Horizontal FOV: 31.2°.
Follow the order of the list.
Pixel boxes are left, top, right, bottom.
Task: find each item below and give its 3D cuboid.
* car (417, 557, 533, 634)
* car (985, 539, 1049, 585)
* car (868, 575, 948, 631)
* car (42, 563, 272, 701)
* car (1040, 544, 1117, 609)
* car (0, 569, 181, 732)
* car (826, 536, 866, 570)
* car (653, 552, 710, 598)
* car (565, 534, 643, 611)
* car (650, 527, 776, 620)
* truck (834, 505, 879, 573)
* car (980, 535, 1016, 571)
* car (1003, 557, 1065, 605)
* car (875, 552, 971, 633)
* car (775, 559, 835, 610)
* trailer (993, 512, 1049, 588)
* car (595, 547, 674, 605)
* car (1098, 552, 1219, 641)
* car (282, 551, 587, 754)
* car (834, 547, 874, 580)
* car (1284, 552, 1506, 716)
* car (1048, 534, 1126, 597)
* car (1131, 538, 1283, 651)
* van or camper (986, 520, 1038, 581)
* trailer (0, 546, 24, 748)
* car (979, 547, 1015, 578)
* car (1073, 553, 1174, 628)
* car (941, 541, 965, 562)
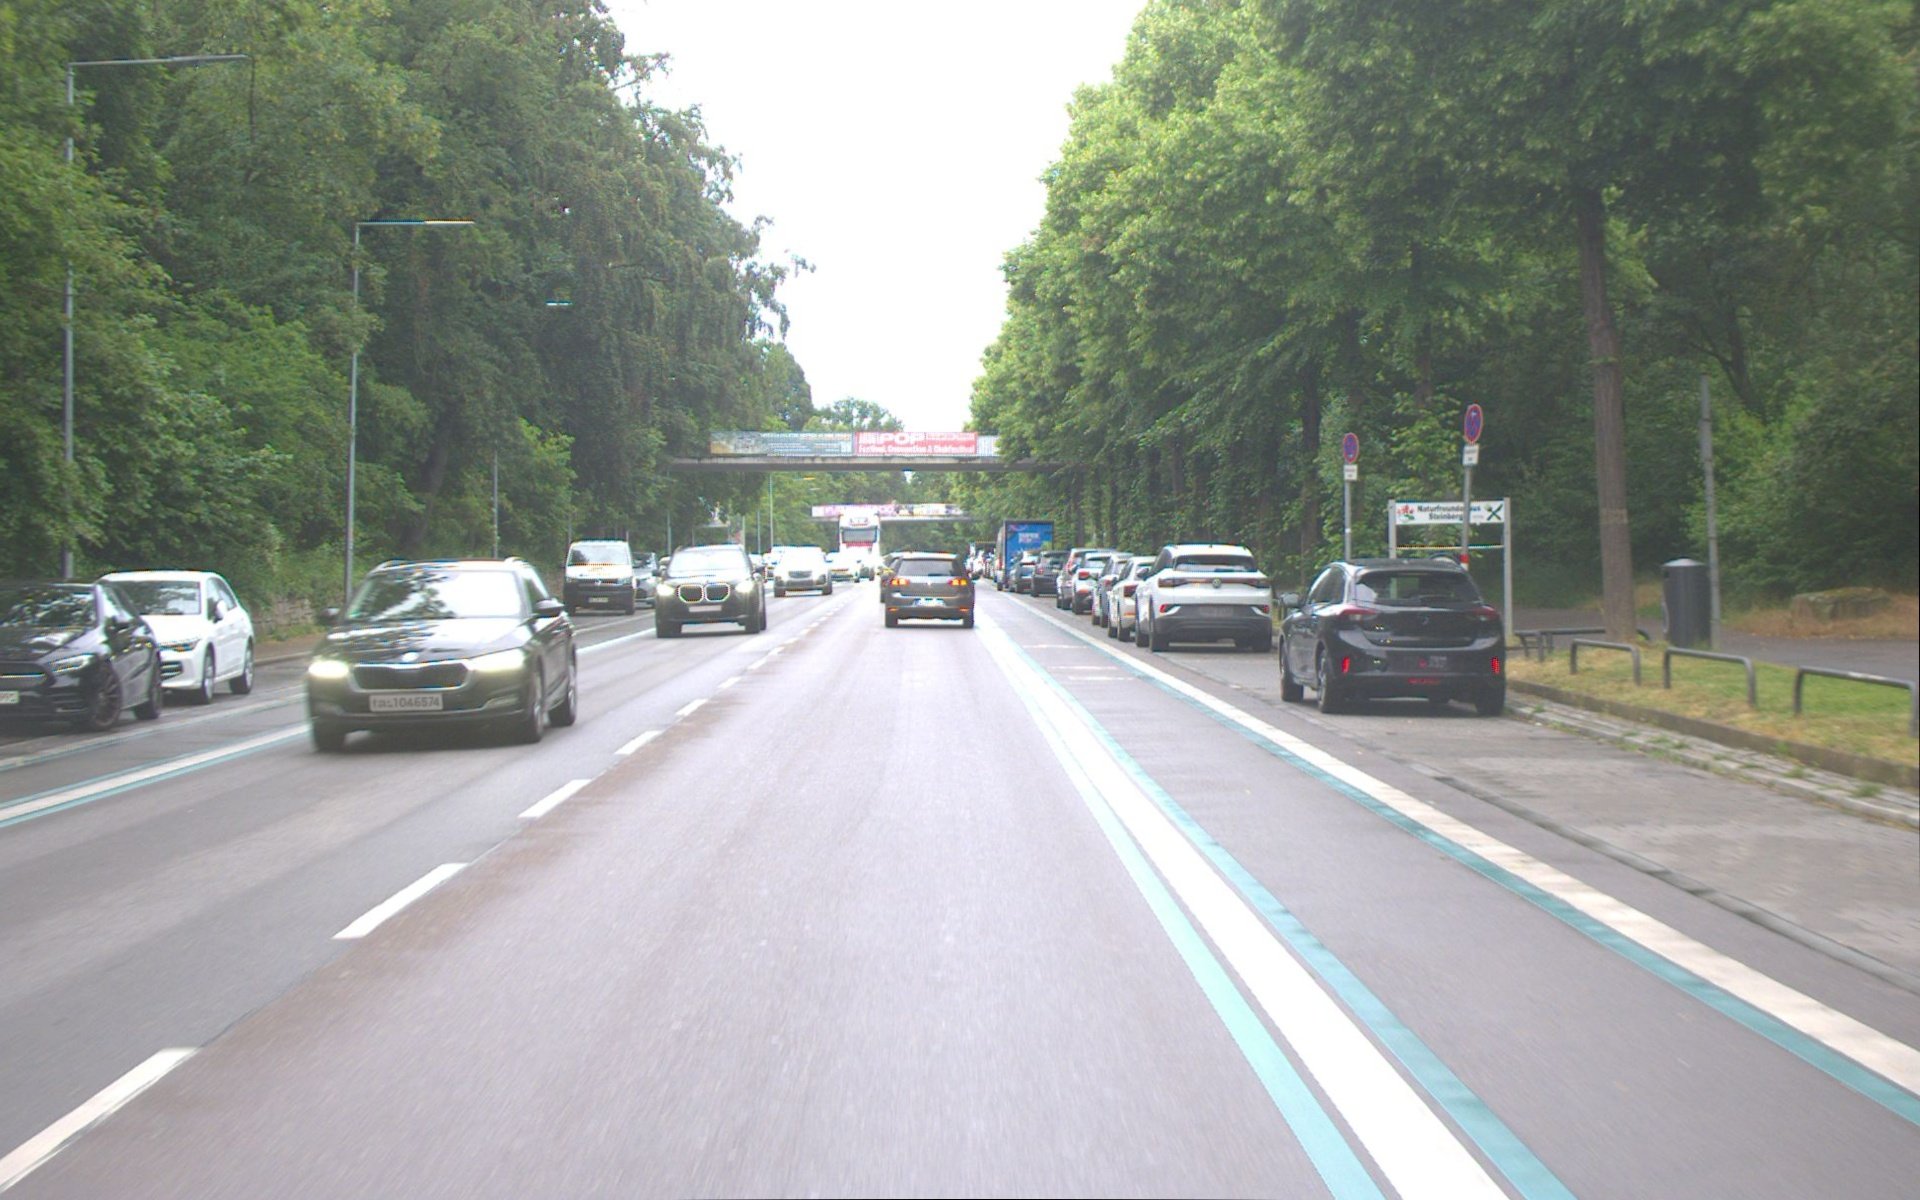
[{"bbox_3d":[-9.517,-0.114,67.749,1.690,1.400,4.028,1,1,0],"label":"car"},{"bbox_3d":[1.985,-1.371,121.656,1.899,1.542,4.756,1,1,-3],"label":"car"},{"bbox_3d":[-1.516,0.073,99.222,2.140,1.487,4.499,1,1,-3],"label":"car"},{"bbox_3d":[-9.153,0.326,39.525,1.754,1.430,4.357,-1,1,-2],"label":"car"},{"bbox_3d":[2.852,-0.587,83.450,1.698,1.508,4.469,1,1,0],"label":"car"},{"bbox_3d":[-8.708,0.430,32.753,1.821,1.393,4.446,0,1,-4],"label":"car"},{"bbox_3d":[-5.301,-2.186,160.069,1.775,1.461,4.063,-2,1,-2],"label":"car"},{"bbox_3d":[-9.565,-0.869,118.154,1.789,1.477,3.983,-1,1,-3],"label":"car"},{"bbox_3d":[-9.551,-0.771,92.543,1.973,1.998,5.019,0,1,-5],"label":"car"},{"bbox_3d":[-4.558,-0.509,63.953,2.038,1.643,4.477,-1,1,0],"label":"car"},{"bbox_3d":[-6.397,-3.774,213.493,2.517,4.032,4.916,-2,1,0],"label":"truck"},{"bbox_3d":[2.159,-2.729,197.985,1.926,2.015,4.664,1,1,0],"label":"car"},{"bbox_3d":[2.420,-0.631,112.709,1.825,1.498,4.571,1,1,-1],"label":"car"},{"bbox_3d":[-0.707,-0.175,67.926,1.818,1.503,4.139,1,1,0],"label":"car"},{"bbox_3d":[-5.265,-0.537,117.196,1.953,1.633,4.445,-1,1,-1],"label":"car"},{"bbox_3d":[2.254,-1.858,127.438,1.952,2.749,4.007,0,1,-1],"label":"trailer"},{"bbox_3d":[-9.577,-0.730,101.465,2.010,1.600,4.780,-1,1,-2],"label":"car"},{"bbox_3d":[3.393,-0.092,59.390,1.698,1.448,3.947,1,1,-2],"label":"car"},{"bbox_3d":[-4.177,0.367,27.965,1.764,1.452,4.496,-2,1,0],"label":"car"},{"bbox_3d":[-5.364,-1.855,174.585,1.961,1.611,4.466,-1,1,-1],"label":"car"},{"bbox_3d":[4.152,0.281,33.328,1.695,1.471,3.998,0,1,1],"label":"car"},{"bbox_3d":[3.274,-0.906,89.492,1.753,1.591,4.740,0,1,-1],"label":"car"},{"bbox_3d":[3.774,-0.127,53.333,1.993,1.656,4.563,-1,1,0],"label":"car"},{"bbox_3d":[2.379,-2.265,158.454,2.042,2.720,6.901,1,1,-1],"label":"van or camper"},{"bbox_3d":[-8.921,0.396,27.756,1.350,1.651,2.261,0,1,38],"label":"trailer"},{"bbox_3d":[1.915,-1.969,179.786,1.756,1.584,4.499,1,1,0],"label":"car"},{"bbox_3d":[3.306,-0.208,70.107,1.698,1.448,4.098,1,1,-2],"label":"car"},{"bbox_3d":[-0.523,-3.625,258.573,1.731,1.578,4.037,-1,1,0],"label":"car"}]
